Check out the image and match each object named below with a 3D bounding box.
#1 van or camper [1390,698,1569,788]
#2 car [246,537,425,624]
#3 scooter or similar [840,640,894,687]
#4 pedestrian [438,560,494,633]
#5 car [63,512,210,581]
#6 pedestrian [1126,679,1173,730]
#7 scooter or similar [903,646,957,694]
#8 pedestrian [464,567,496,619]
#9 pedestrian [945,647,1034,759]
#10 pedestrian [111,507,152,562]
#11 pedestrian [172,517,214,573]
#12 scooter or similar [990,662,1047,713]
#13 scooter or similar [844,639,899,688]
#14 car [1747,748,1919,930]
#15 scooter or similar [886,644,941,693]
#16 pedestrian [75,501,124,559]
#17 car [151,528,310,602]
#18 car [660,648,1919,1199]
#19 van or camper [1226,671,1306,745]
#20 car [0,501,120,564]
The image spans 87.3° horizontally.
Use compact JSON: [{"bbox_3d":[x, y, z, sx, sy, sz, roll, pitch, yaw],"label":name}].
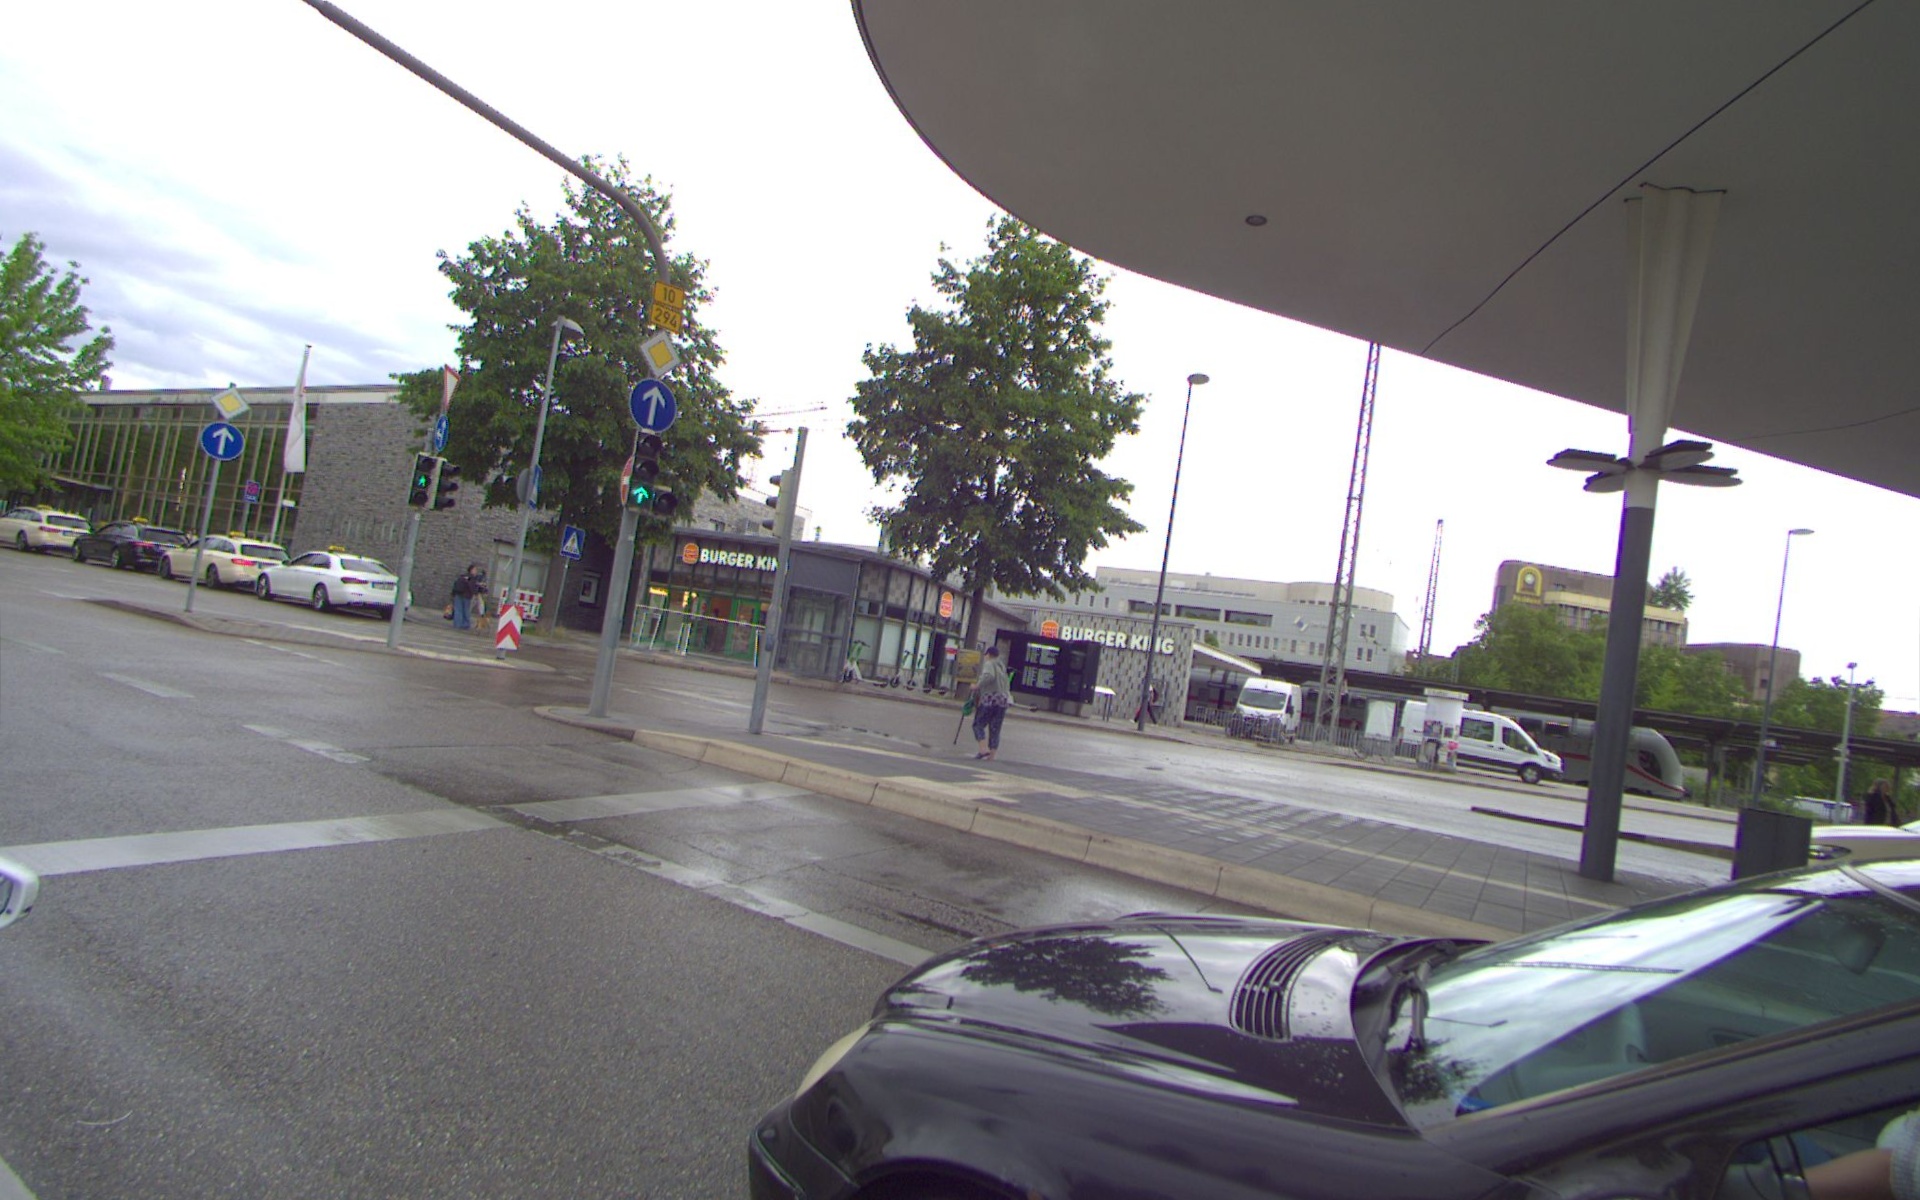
[{"bbox_3d":[20.354,5.539,39.545,5.873,2.491,2.108,7,-2,32],"label":"van or camper"},{"bbox_3d":[-15.838,-0.507,25.458,4.538,1.608,1.779,7,-2,30],"label":"car"},{"bbox_3d":[-2.614,1.802,28.421,1.313,1.157,0.464,9,-2,-31],"label":"scooter or similar"},{"bbox_3d":[-12.427,-0.085,25.323,0.700,1.693,0.809,7,-2,31],"label":"pedestrian"},{"bbox_3d":[-25.823,-1.698,31.527,4.662,1.542,1.918,7,-2,30],"label":"car"},{"bbox_3d":[6.589,3.620,34.949,0.910,1.552,1.096,9,-2,-36],"label":"pedestrian"},{"bbox_3d":[-0.934,2.157,31.175,1.503,1.284,0.467,8,-1,-4],"label":"scooter or similar"},{"bbox_3d":[-16.222,-0.234,33.976,0.556,1.652,0.562,7,-2,30],"label":"pedestrian"},{"bbox_3d":[0.404,1.391,13.583,0.753,1.374,0.738,7,-3,31],"label":"pedestrian"},{"bbox_3d":[-33.175,-2.608,40.291,0.906,2.036,0.813,7,-2,32],"label":"pedestrian"},{"bbox_3d":[-30.441,-2.173,39.939,0.906,2.036,0.813,7,-2,31],"label":"pedestrian"},{"bbox_3d":[1.727,2.590,29.777,1.503,1.284,0.467,8,-1,-4],"label":"scooter or similar"},{"bbox_3d":[-2.445,1.753,27.763,1.309,1.167,0.465,9,-2,-21],"label":"scooter or similar"},{"bbox_3d":[11.248,2.789,10.566,4.360,1.665,1.807,7,-5,32],"label":"car"},{"bbox_3d":[-1.396,2.058,30.349,1.503,1.284,0.467,8,-1,-4],"label":"scooter or similar"},{"bbox_3d":[-32.851,-2.661,38.403,0.904,2.036,0.815,8,-1,8],"label":"pedestrian"},{"bbox_3d":[-20.616,-1.004,28.385,4.588,1.468,1.851,7,-2,30],"label":"car"},{"bbox_3d":[1.769,1.148,1.486,4.362,1.493,1.754,5,-8,32],"label":"car"},{"bbox_3d":[12.555,4.404,41.014,2.072,2.491,5.975,7,-3,25],"label":"van or camper"},{"bbox_3d":[-31.418,-2.374,34.538,4.736,1.618,2.000,7,-2,25],"label":"car"}]
